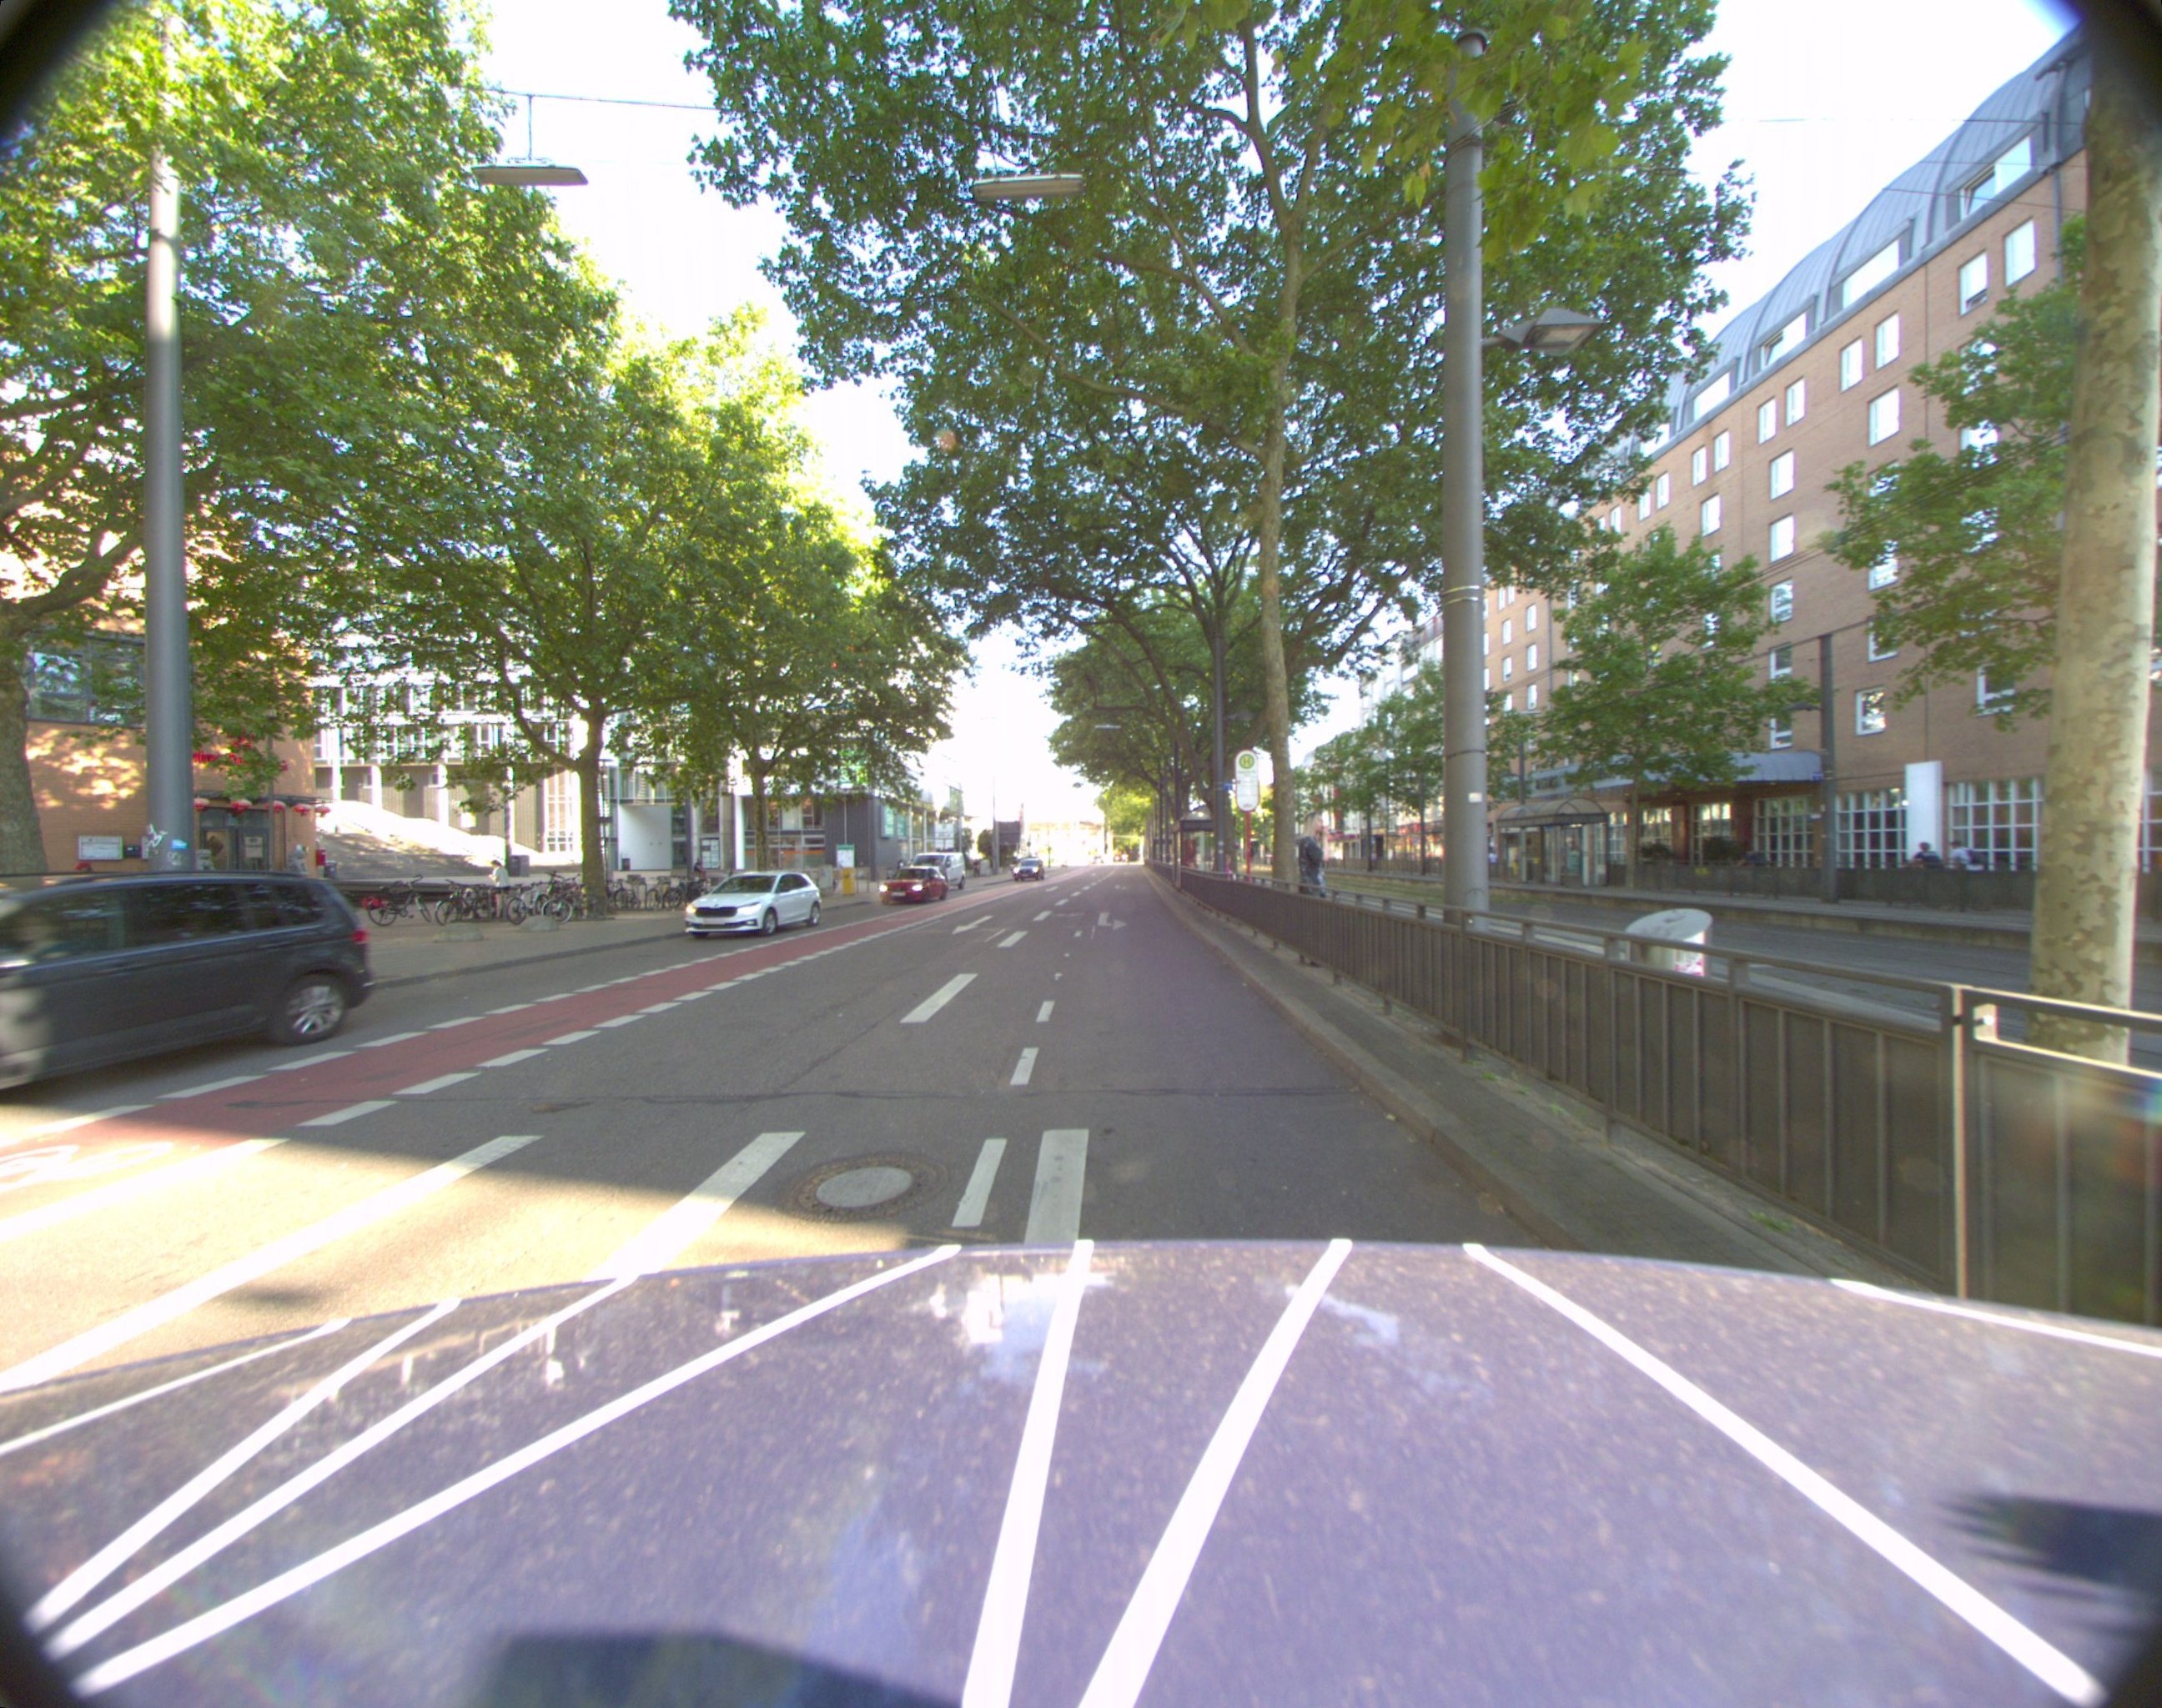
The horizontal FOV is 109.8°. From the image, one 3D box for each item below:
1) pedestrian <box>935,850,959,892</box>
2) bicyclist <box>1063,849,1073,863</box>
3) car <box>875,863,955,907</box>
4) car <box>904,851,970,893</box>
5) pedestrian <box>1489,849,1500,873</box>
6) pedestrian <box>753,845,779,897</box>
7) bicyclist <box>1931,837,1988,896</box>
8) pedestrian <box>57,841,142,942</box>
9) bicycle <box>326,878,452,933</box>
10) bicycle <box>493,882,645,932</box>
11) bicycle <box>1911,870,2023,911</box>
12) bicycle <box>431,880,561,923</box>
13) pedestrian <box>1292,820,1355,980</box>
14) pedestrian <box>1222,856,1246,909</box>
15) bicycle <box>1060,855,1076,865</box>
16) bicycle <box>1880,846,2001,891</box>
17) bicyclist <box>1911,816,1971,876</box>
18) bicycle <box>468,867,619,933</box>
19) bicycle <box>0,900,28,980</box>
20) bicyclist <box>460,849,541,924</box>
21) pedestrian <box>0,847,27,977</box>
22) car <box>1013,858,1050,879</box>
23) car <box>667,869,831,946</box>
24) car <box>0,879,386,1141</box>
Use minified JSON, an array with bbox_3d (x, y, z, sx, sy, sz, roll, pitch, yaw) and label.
[{"bbox_3d":[-6.629,0.847,37.589,0.815,2.001,0.979,-2,0,10],"label":"pedestrian"},{"bbox_3d":[-1.893,0.256,107.297,0.957,2.002,0.940,-1,1,33],"label":"bicyclist"},{"bbox_3d":[-6.474,1.171,30.089,1.835,1.481,4.197,-3,0,5],"label":"car"},{"bbox_3d":[-7.442,0.867,39.936,1.933,1.953,5.919,-2,0,3],"label":"car"},{"bbox_3d":[29.553,0.510,54.332,0.504,1.725,0.574,-1,1,3],"label":"pedestrian"},{"bbox_3d":[-16.523,0.868,39.857,0.981,2.633,0.900,-3,1,-31],"label":"pedestrian"},{"bbox_3d":[23.545,0.326,20.383,0.662,1.565,0.758,-1,1,-7],"label":"bicyclist"},{"bbox_3d":[-22.279,0.838,17.260,0.842,2.220,0.905,-2,1,22],"label":"pedestrian"},{"bbox_3d":[-17.847,1.281,19.717,0.699,1.193,2.700,-2,1,1],"label":"bicycle"},{"bbox_3d":[-13.146,1.324,19.692,0.975,1.020,3.208,-2,1,23],"label":"bicycle"},{"bbox_3d":[23.567,0.950,20.267,0.655,0.992,1.900,-1,0,-6],"label":"bicycle"},{"bbox_3d":[-16.242,1.314,21.102,3.328,1.077,1.150,-2,0,18],"label":"bicycle"},{"bbox_3d":[2.865,0.530,9.015,0.543,1.823,0.524,-2,1,4],"label":"pedestrian"},{"bbox_3d":[3.937,0.735,19.567,0.542,1.310,0.524,-2,1,12],"label":"pedestrian"},{"bbox_3d":[-1.818,0.836,107.368,0.948,1.460,2.711,0,0,34],"label":"bicycle"},{"bbox_3d":[22.742,0.398,20.177,0.687,1.135,2.110,0,-2,-6],"label":"bicycle"},{"bbox_3d":[22.746,-0.206,20.116,0.684,1.550,0.758,0,-1,-7],"label":"bicyclist"},{"bbox_3d":[-14.068,1.143,20.067,0.892,1.476,3.228,-1,1,22],"label":"bicycle"},{"bbox_3d":[-13.406,1.063,7.991,0.925,0.943,2.637,-2,1,1],"label":"bicycle"},{"bbox_3d":[-16.043,0.879,21.025,1.296,2.002,1.158,-1,1,17],"label":"bicyclist"},{"bbox_3d":[-17.080,0.894,11.465,0.934,2.002,1.091,-1,1,-25],"label":"pedestrian"},{"bbox_3d":[-3.731,1.091,58.249,1.784,1.481,4.198,-3,0,10],"label":"car"},{"bbox_3d":[-7.688,1.164,18.082,1.835,1.481,4.196,-2,0,3],"label":"car"},{"bbox_3d":[-7.971,1.100,5.510,1.710,1.626,4.390,-2,0,1],"label":"car"}]
